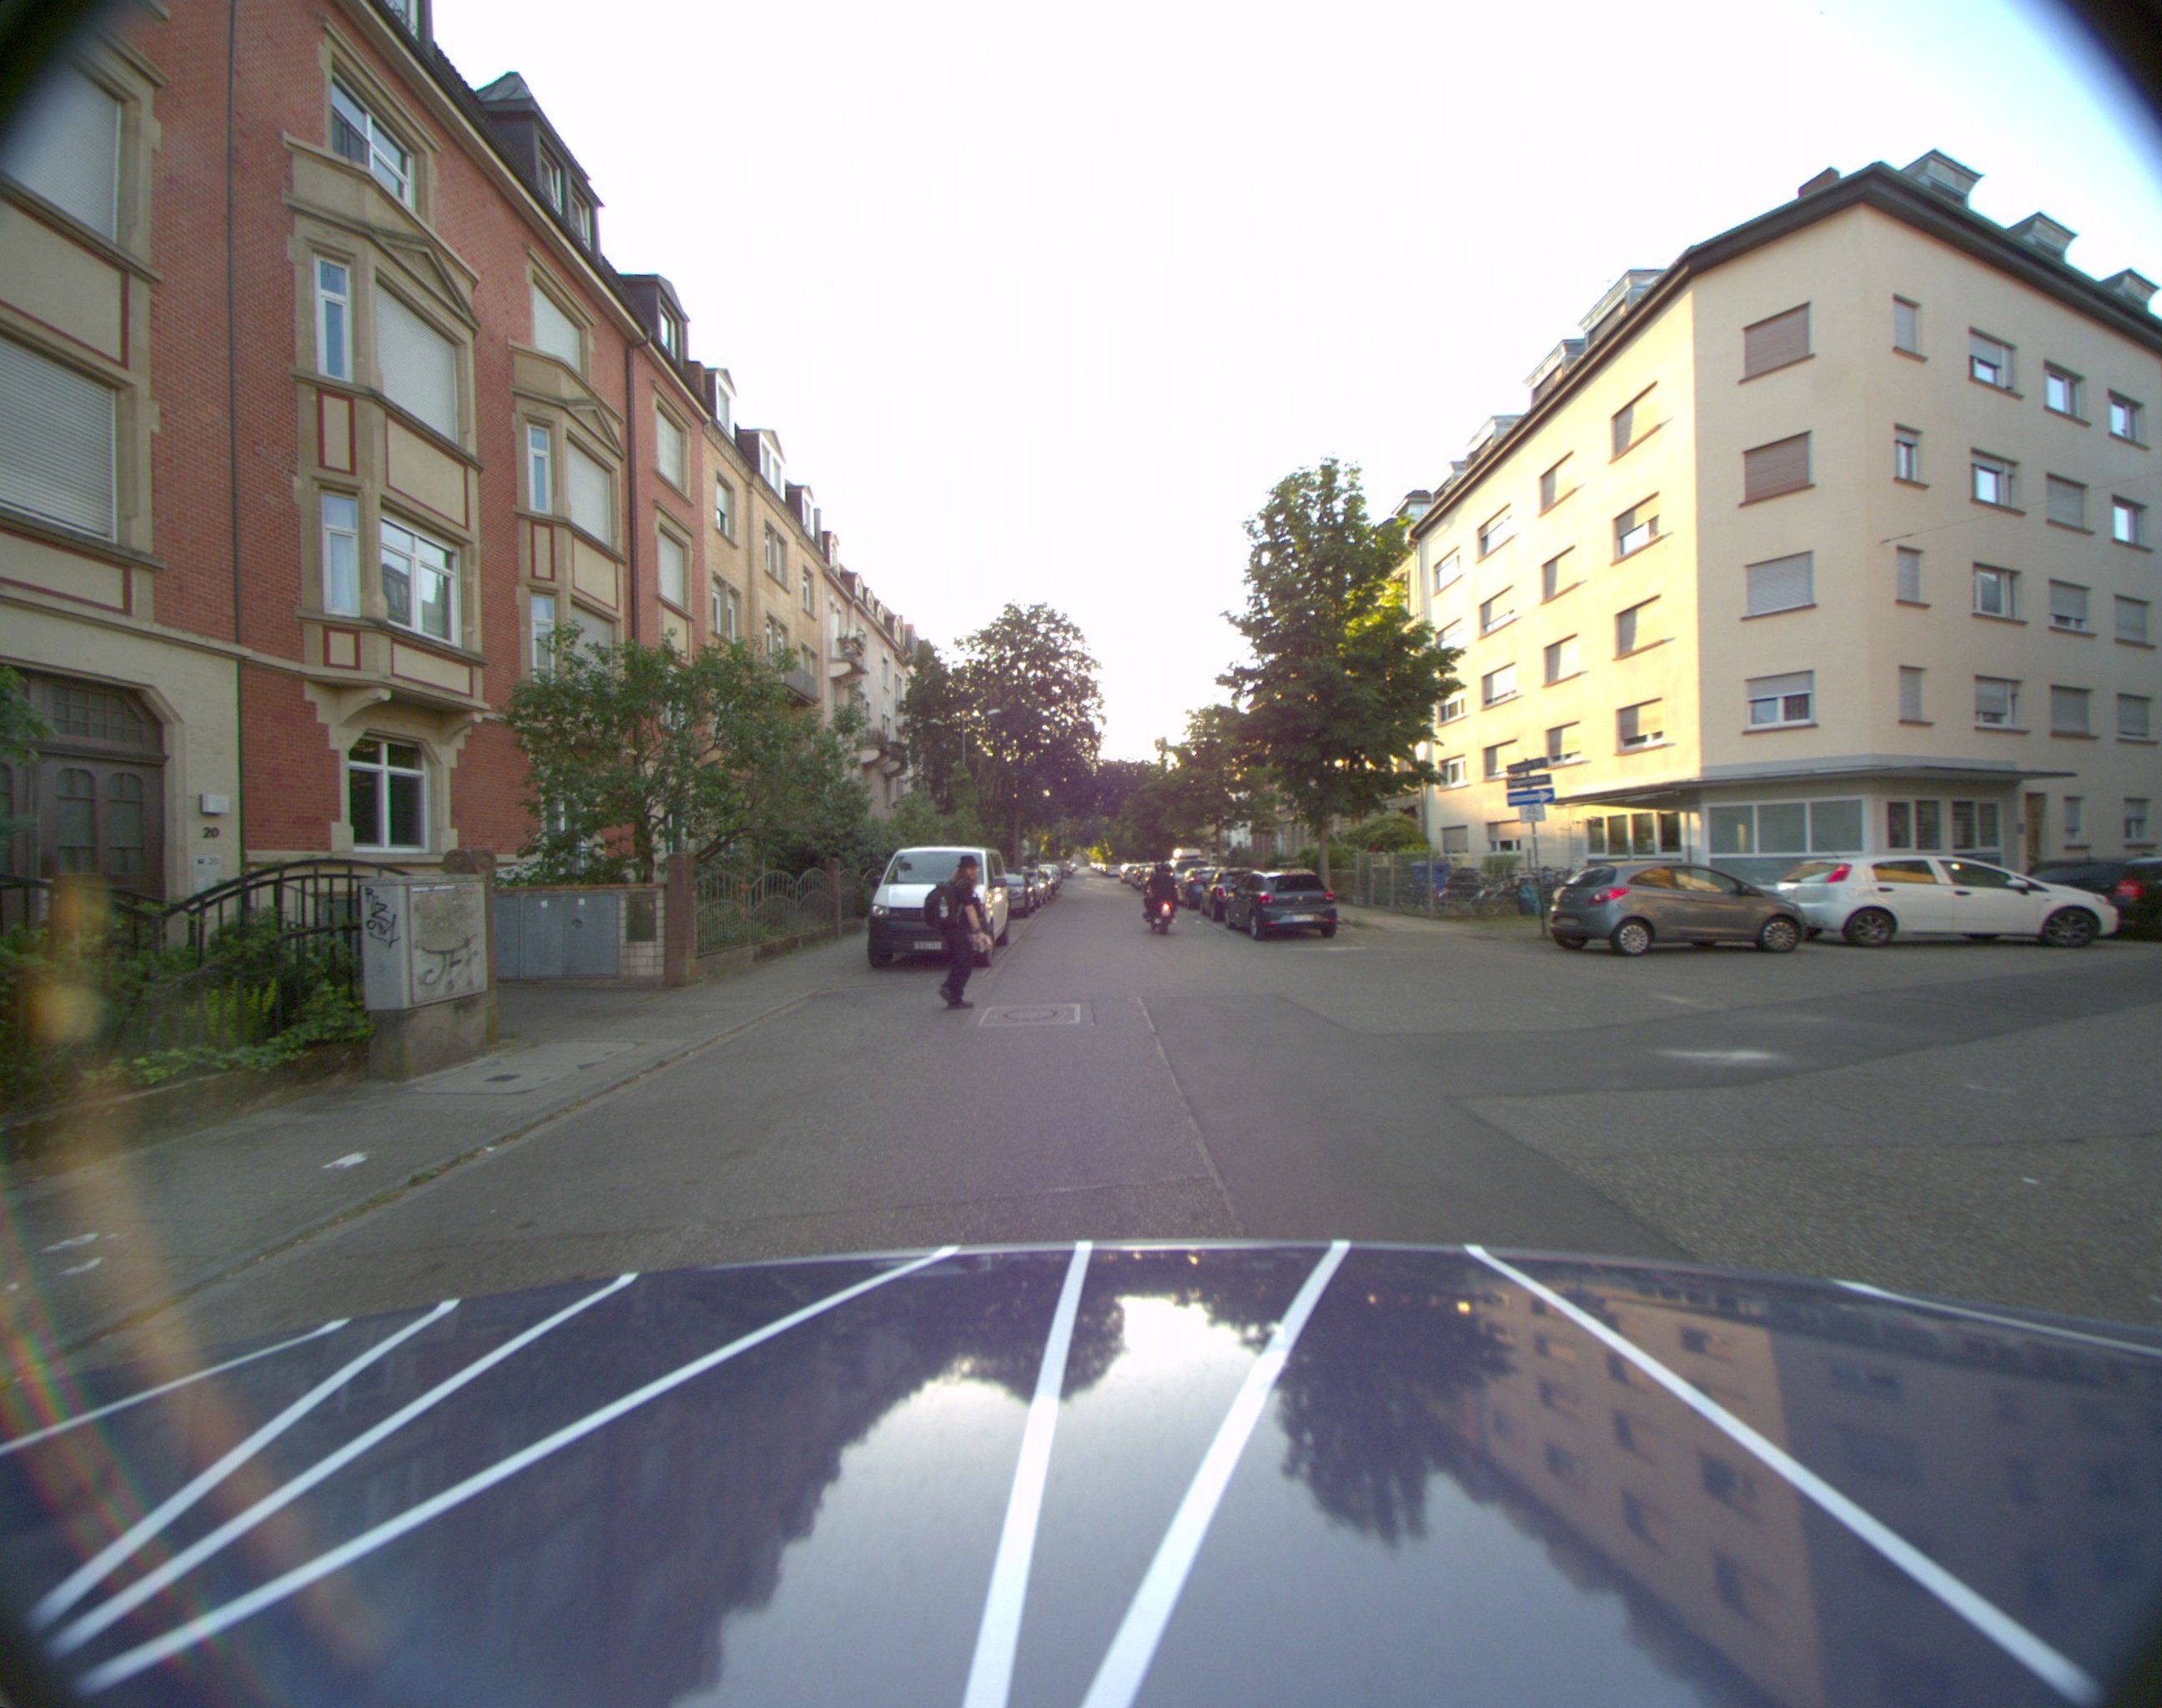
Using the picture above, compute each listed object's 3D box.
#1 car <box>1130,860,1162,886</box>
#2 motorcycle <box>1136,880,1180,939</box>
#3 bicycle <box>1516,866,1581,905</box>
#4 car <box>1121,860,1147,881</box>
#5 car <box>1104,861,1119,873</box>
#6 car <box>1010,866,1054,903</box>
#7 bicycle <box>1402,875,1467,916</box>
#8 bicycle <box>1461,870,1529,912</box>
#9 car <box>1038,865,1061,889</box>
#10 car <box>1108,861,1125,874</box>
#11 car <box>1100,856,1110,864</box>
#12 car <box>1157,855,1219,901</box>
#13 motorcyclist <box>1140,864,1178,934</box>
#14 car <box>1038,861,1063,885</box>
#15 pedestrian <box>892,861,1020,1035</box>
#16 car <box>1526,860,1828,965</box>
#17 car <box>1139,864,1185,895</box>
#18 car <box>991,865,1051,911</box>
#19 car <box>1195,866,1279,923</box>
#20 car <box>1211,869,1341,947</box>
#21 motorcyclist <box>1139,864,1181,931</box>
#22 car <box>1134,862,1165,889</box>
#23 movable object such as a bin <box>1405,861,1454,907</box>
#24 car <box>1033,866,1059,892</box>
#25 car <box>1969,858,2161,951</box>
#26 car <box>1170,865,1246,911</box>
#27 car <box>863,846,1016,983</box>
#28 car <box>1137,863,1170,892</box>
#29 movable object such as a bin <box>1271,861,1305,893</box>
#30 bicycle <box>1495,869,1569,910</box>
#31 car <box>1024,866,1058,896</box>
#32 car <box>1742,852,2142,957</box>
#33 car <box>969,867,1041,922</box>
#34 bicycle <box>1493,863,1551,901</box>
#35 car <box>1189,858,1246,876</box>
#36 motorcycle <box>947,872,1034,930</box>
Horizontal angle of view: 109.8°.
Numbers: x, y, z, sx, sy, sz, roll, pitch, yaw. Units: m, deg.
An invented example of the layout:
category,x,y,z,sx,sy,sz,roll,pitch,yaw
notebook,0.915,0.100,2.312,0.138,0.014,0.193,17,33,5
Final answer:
category,x,y,z,sx,sy,sz,roll,pitch,yaw
car,4.487,1.267,52.950,1.866,1.653,4.021,-2,0,1
motorcycle,1.823,1.248,17.673,0.848,1.202,2.076,1,0,10
bicycle,13.945,0.930,22.683,1.635,1.086,0.500,-3,0,-6
car,4.451,1.359,64.194,1.677,1.627,3.940,-2,0,-3
car,4.181,1.722,103.828,1.840,1.484,3.641,-2,0,0
car,-2.184,1.351,34.848,1.590,1.516,3.603,-3,0,2
bicycle,9.717,1.113,20.977,0.689,1.019,1.931,-3,0,-5
bicycle,11.432,1.011,21.034,0.502,1.085,1.545,-3,0,-37
car,-2.128,1.541,52.329,1.502,1.538,3.338,-2,0,-2
car,4.509,1.726,98.188,1.953,1.484,3.738,-2,0,0
car,4.654,1.175,147.695,1.840,1.484,3.641,-2,0,0
car,4.478,0.975,32.489,1.866,1.768,4.623,-2,0,-1
motorcyclist,1.778,1.007,17.316,0.788,1.531,0.546,1,1,10
car,-2.300,1.431,57.947,1.737,1.691,4.168,-2,0,-2
pedestrian,-1.363,0.961,8.278,0.960,1.712,0.889,-3,0,-43
car,9.665,0.906,12.553,3.515,1.498,1.845,-2,-1,-1
car,4.069,1.269,38.734,1.733,1.433,4.024,-2,0,-2
car,-2.310,1.274,30.350,1.761,1.573,4.843,-3,0,2
car,4.473,1.102,22.325,1.746,1.412,4.143,-2,0,2
car,4.301,1.124,17.500,1.679,1.453,4.463,-2,0,-2
motorcyclist,1.876,1.005,17.974,0.891,1.496,0.970,1,1,10
car,4.219,1.315,47.408,1.682,1.489,3.626,-2,0,2
movable object such as a bin,10.926,0.919,23.874,0.868,1.344,1.398,-3,0,2
car,-2.167,1.527,47.931,1.479,1.498,3.928,-2,0,-2
car,18.568,0.817,13.577,4.082,1.430,1.996,-1,-1,-16
car,4.486,1.157,27.482,1.866,1.404,4.590,-2,0,-1
car,-2.348,0.914,14.080,1.866,2.027,5.544,0,0,-1
car,4.118,1.314,43.450,1.441,1.485,3.298,-2,0,-2
movable object such as a bin,9.256,1.007,34.002,0.948,1.379,1.551,-3,0,-3
bicycle,12.544,0.989,21.173,0.386,1.085,1.707,-3,0,-36
car,-2.203,1.478,42.712,1.737,1.498,4.163,-2,0,-2
car,14.188,0.821,12.845,4.066,1.499,1.975,-3,0,12
car,-2.401,1.254,25.097,1.724,1.542,4.326,-2,0,2
bicycle,13.851,0.875,23.893,1.548,1.086,0.500,-3,0,-6
car,11.105,1.032,61.994,4.413,1.333,1.626,-2,0,1
motorcycle,-2.482,1.254,20.940,2.099,1.473,1.130,0,0,-33
